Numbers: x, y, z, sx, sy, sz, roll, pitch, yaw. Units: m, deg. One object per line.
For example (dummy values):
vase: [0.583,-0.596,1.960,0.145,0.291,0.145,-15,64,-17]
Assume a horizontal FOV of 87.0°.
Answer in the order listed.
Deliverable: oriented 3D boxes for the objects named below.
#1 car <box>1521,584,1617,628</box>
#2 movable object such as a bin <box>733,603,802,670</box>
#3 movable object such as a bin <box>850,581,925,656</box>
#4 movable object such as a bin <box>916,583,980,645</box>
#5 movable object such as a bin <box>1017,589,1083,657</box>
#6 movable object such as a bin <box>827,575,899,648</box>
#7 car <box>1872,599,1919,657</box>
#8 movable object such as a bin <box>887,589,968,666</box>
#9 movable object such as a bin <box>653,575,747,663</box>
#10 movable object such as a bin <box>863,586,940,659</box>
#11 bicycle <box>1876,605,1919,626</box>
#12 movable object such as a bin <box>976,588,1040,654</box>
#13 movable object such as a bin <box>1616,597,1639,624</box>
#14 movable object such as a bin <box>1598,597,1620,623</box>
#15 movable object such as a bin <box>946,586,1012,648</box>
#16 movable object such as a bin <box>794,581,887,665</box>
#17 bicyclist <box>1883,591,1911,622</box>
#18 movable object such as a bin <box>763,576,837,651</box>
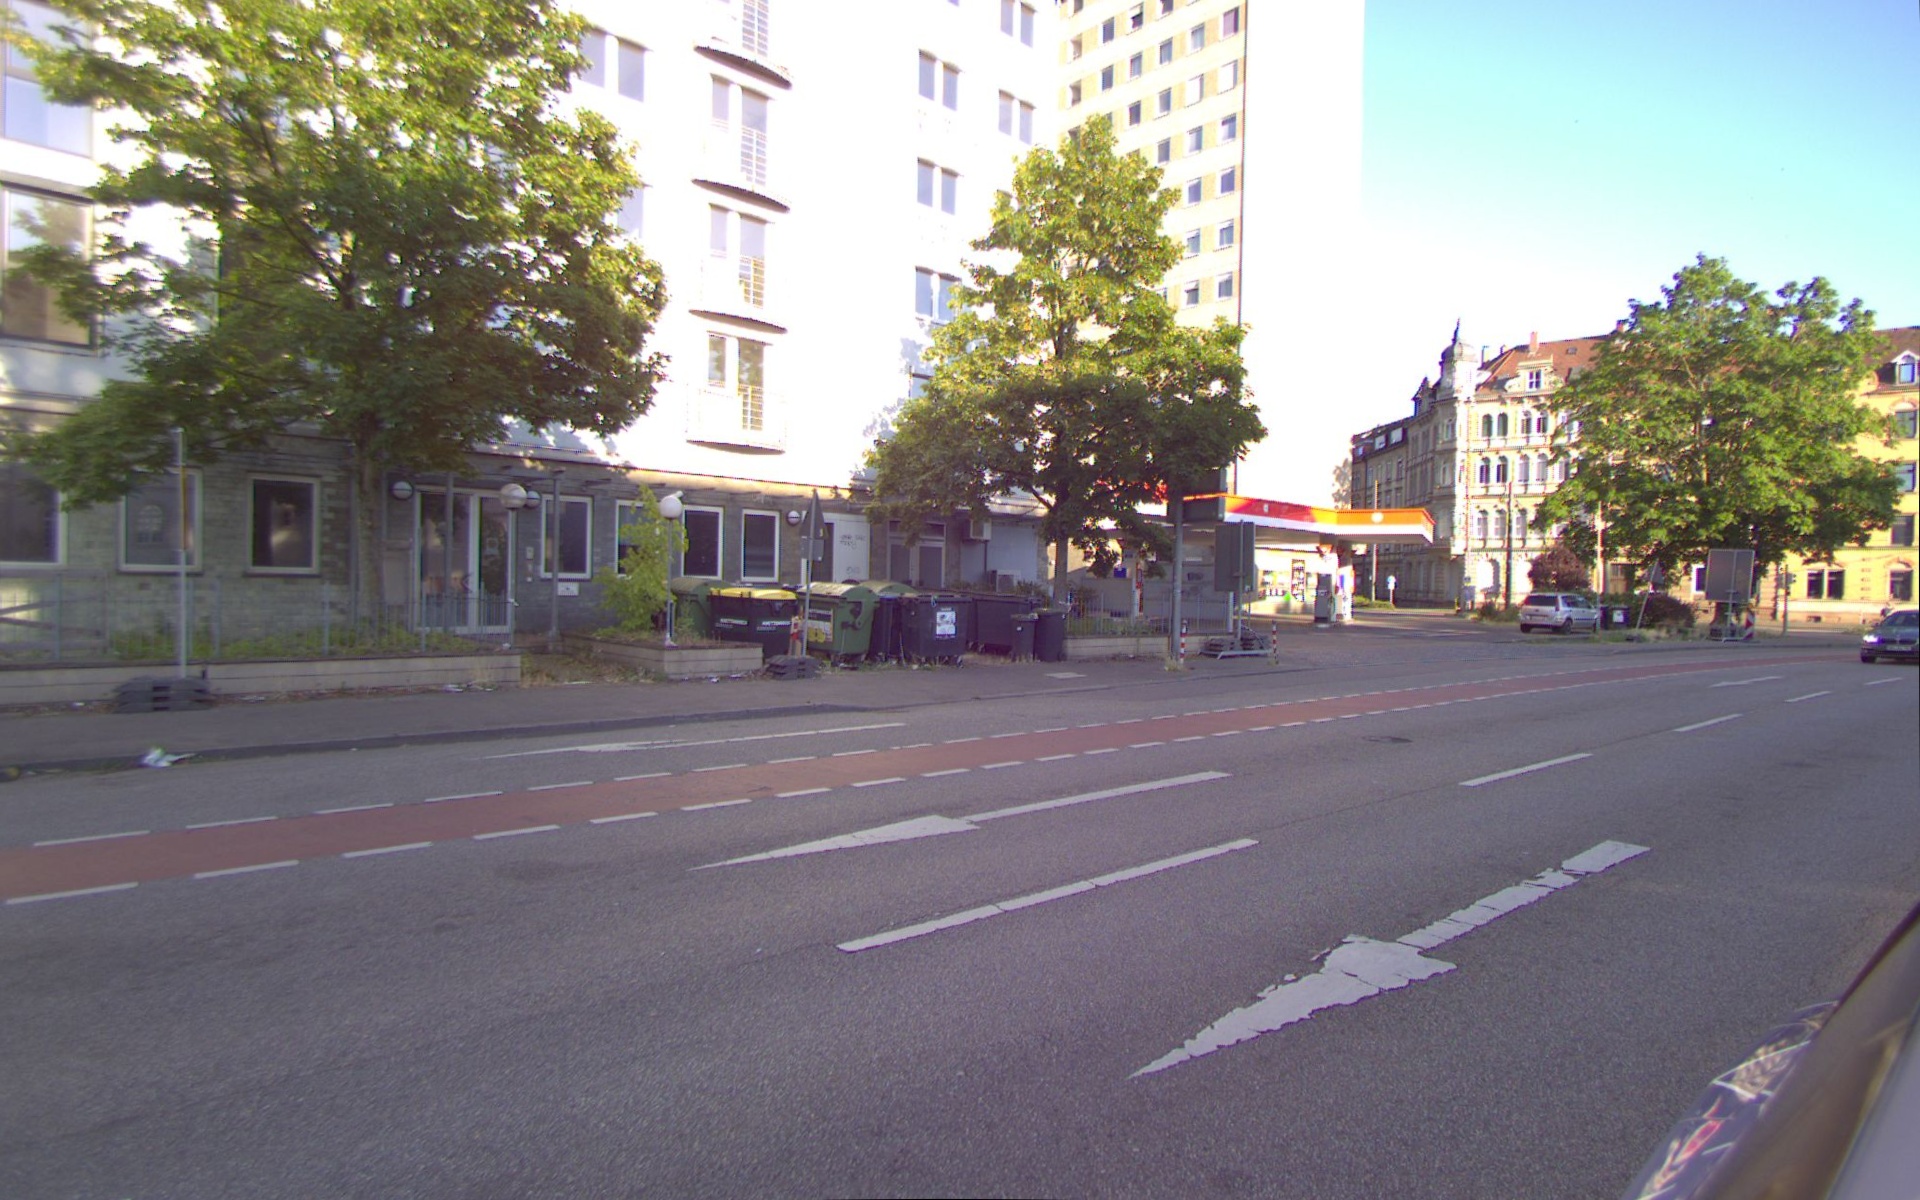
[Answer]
car: [23.141,0.194,38.433,3.723,1.535,1.691,0,2,-34]
movable object such as a bin: [-3.257,0.597,17.091,0.806,1.058,0.851,0,1,-45]
movable object such as a bin: [-1.485,0.355,20.806,1.143,1.467,1.033,0,1,-43]
movable object such as a bin: [-0.278,0.303,22.956,1.080,1.345,0.954,0,1,-43]
movable object such as a bin: [1.854,0.452,20.777,0.938,1.345,0.954,0,1,-43]
movable object such as a bin: [-2.101,0.228,21.829,1.143,1.517,1.033,0,1,-43]
car: [26.530,0.730,27.518,4.581,1.467,1.819,0,0,-38]
movable object such as a bin: [-0.602,0.476,18.665,1.143,1.345,0.954,0,1,-43]
movable object such as a bin: [-4.641,0.305,18.027,1.088,1.479,1.348,0,1,-45]
movable object such as a bin: [-1.130,0.410,19.675,1.143,1.345,0.954,0,1,-43]
bicycle: [50.988,0.820,54.896,1.921,1.072,0.444,2,1,43]
movable object such as a bin: [1.015,0.423,21.332,0.938,1.345,0.954,0,1,-43]
movable object such as a bin: [26.799,0.410,40.613,0.674,1.031,0.544,0,1,-36]
movable object such as a bin: [26.488,0.394,41.300,0.674,1.031,0.544,0,1,-36]
movable object such as a bin: [0.411,0.347,22.212,1.080,1.299,0.954,0,1,-43]
movable object such as a bin: [-2.184,0.392,18.434,1.088,1.441,1.348,0,1,-45]
bicyclist: [50.998,0.352,55.079,1.062,1.669,0.721,2,1,43]
movable object such as a bin: [-3.349,0.263,21.243,1.143,1.517,1.033,0,1,-43]
